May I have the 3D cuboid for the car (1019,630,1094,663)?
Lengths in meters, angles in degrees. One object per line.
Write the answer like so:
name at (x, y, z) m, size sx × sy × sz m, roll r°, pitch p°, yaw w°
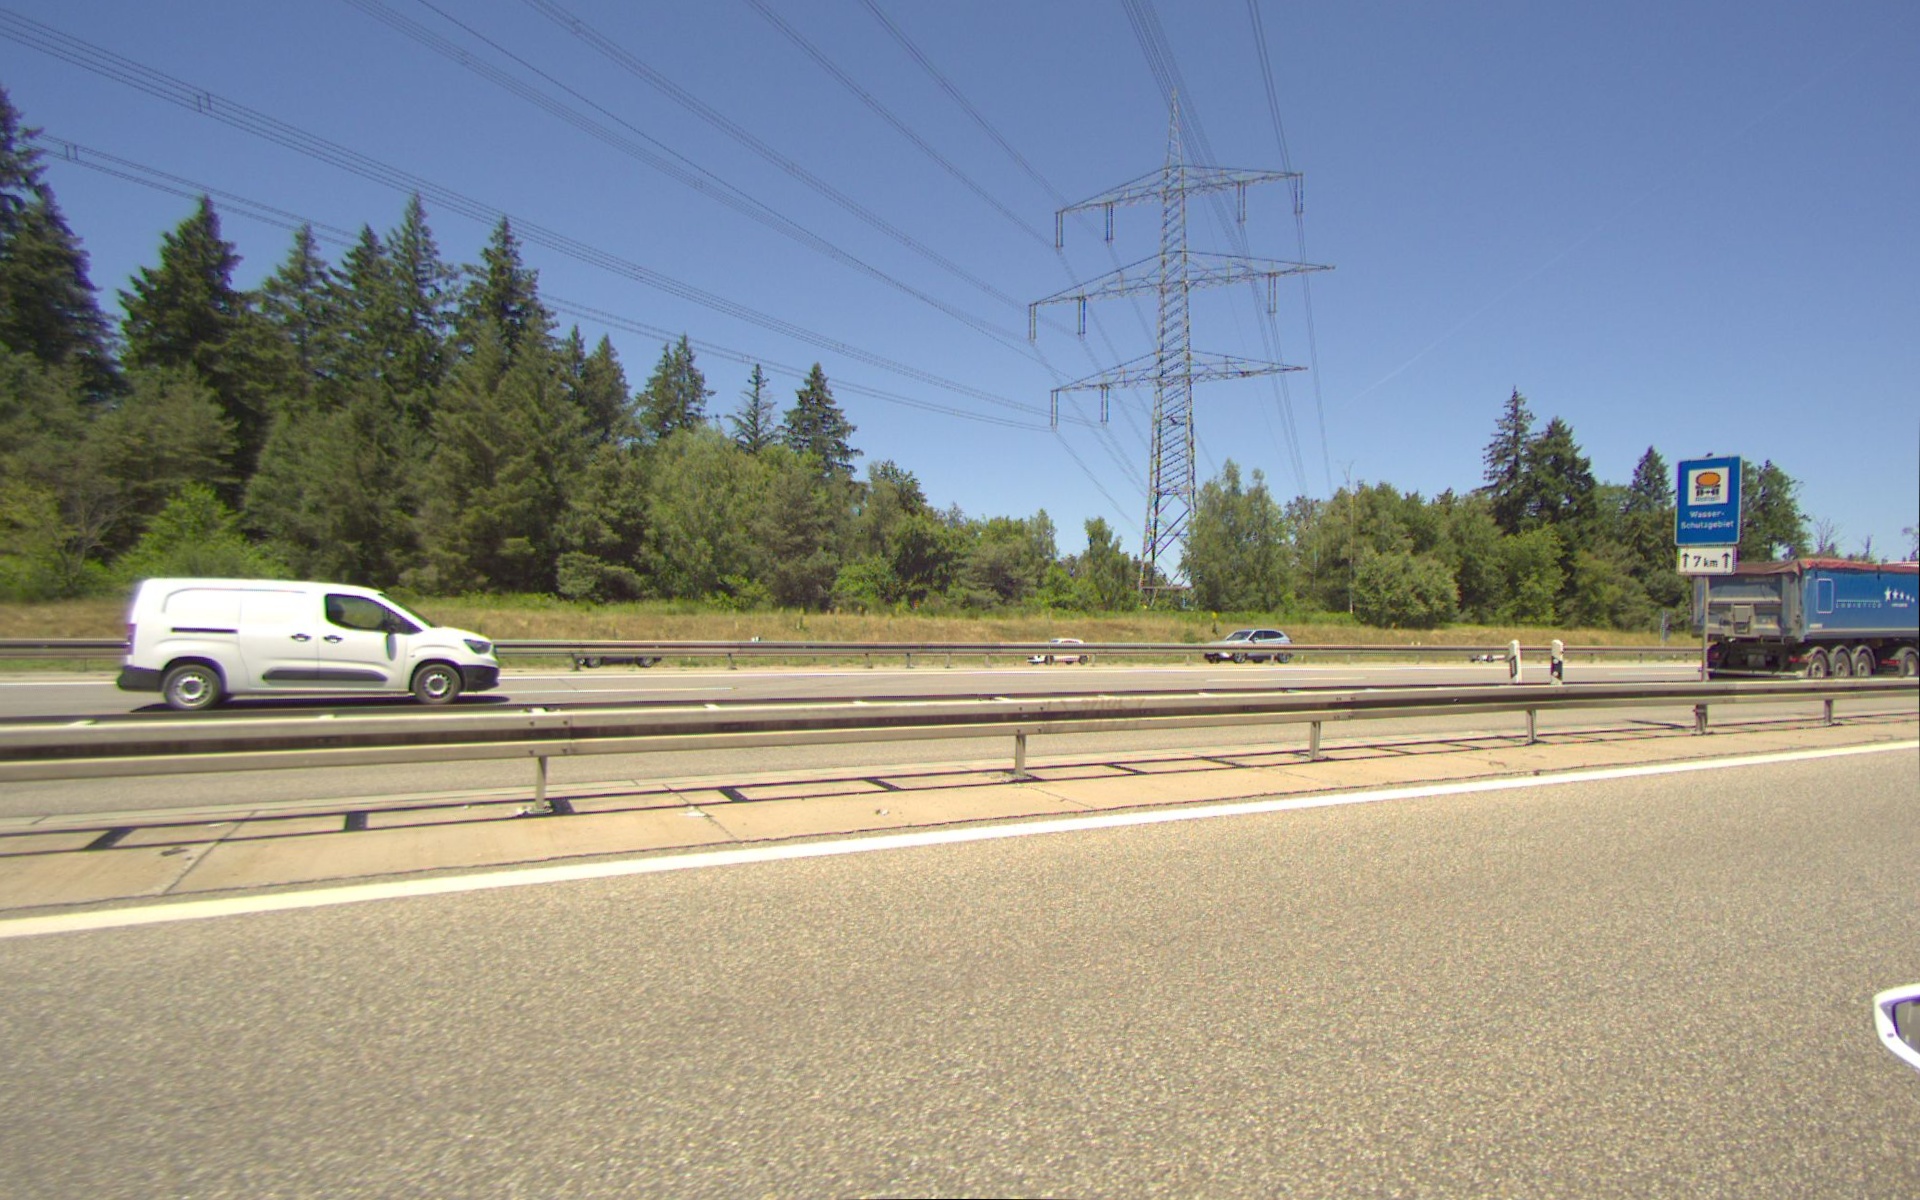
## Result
car at (5.664, 2.753, 58.909) m, size 3.953 × 1.806 × 1.984 m, roll 2°, pitch -2°, yaw -30°

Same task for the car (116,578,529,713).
car at (-9.282, 0.674, 15.155) m, size 4.958 × 1.777 × 1.764 m, roll 2°, pitch -2°, yaw -29°

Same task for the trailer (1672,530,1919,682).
trailer at (24.638, 0.258, 28.882) m, size 9.760 × 3.858 × 2.760 m, roll 1°, pitch -1°, yaw -28°

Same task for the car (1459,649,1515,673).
car at (42.345, 4.893, 80.717) m, size 3.947 × 1.806 × 1.988 m, roll 2°, pitch -2°, yaw -25°

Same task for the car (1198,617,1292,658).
car at (13.285, 1.752, 46.778) m, size 3.953 × 1.806 × 1.984 m, roll 2°, pitch -2°, yaw -30°

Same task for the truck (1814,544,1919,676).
truck at (29.543, 0.355, 31.495) m, size 4.563 × 3.858 × 2.746 m, roll 1°, pitch -1°, yaw -28°

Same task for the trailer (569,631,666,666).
trailer at (-17.501, 2.462, 51.318) m, size 4.405 × 1.691 × 1.985 m, roll 1°, pitch -1°, yaw -29°

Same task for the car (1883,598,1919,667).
car at (43.389, 1.527, 43.993) m, size 6.400 × 2.934 × 2.619 m, roll 3°, pitch -2°, yaw -31°
